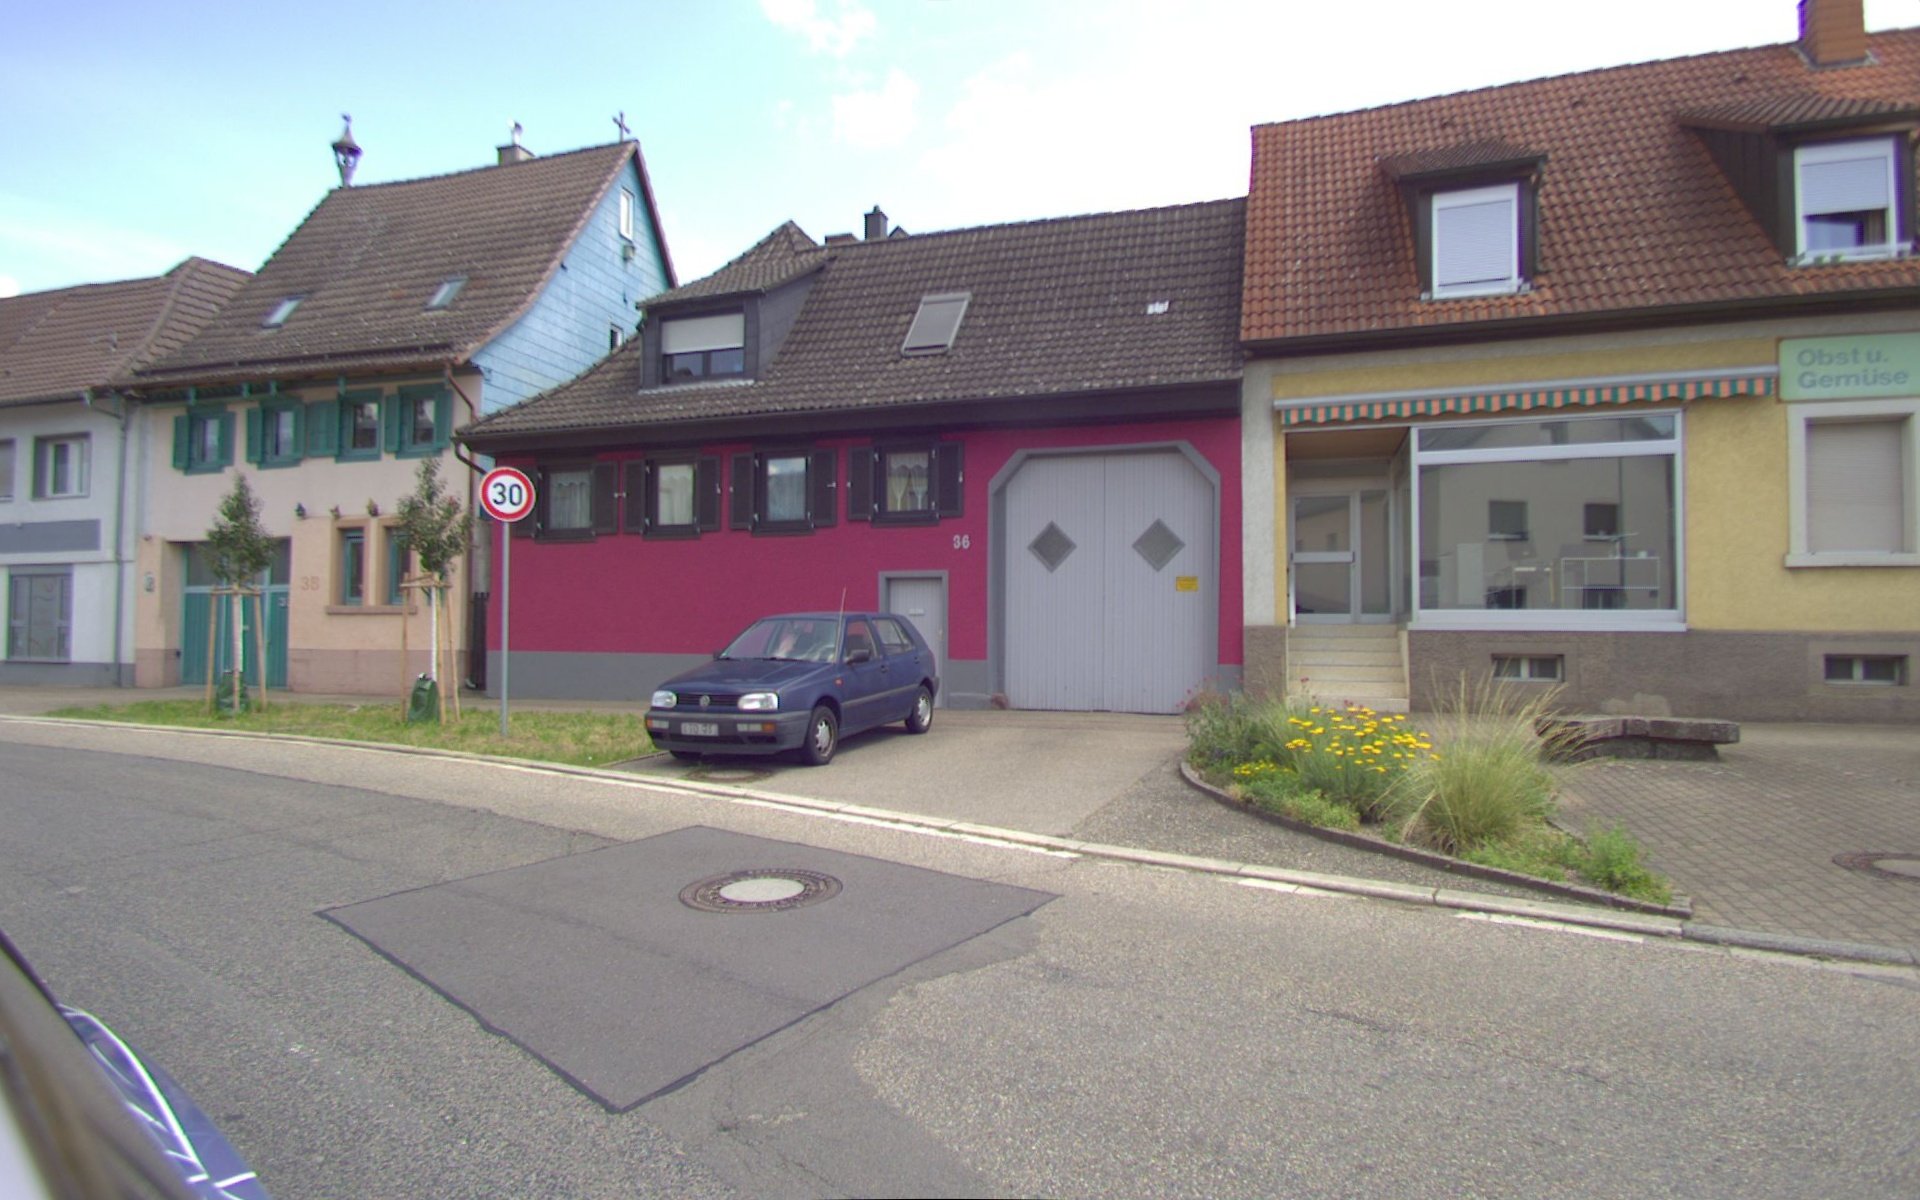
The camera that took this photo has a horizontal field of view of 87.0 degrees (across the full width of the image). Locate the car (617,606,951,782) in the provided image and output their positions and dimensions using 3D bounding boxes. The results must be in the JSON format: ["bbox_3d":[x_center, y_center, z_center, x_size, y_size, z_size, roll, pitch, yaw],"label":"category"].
[{"bbox_3d":[-1.599,0.812,10.634,1.709,1.475,3.952,-1,-1,21],"label":"car"}]
